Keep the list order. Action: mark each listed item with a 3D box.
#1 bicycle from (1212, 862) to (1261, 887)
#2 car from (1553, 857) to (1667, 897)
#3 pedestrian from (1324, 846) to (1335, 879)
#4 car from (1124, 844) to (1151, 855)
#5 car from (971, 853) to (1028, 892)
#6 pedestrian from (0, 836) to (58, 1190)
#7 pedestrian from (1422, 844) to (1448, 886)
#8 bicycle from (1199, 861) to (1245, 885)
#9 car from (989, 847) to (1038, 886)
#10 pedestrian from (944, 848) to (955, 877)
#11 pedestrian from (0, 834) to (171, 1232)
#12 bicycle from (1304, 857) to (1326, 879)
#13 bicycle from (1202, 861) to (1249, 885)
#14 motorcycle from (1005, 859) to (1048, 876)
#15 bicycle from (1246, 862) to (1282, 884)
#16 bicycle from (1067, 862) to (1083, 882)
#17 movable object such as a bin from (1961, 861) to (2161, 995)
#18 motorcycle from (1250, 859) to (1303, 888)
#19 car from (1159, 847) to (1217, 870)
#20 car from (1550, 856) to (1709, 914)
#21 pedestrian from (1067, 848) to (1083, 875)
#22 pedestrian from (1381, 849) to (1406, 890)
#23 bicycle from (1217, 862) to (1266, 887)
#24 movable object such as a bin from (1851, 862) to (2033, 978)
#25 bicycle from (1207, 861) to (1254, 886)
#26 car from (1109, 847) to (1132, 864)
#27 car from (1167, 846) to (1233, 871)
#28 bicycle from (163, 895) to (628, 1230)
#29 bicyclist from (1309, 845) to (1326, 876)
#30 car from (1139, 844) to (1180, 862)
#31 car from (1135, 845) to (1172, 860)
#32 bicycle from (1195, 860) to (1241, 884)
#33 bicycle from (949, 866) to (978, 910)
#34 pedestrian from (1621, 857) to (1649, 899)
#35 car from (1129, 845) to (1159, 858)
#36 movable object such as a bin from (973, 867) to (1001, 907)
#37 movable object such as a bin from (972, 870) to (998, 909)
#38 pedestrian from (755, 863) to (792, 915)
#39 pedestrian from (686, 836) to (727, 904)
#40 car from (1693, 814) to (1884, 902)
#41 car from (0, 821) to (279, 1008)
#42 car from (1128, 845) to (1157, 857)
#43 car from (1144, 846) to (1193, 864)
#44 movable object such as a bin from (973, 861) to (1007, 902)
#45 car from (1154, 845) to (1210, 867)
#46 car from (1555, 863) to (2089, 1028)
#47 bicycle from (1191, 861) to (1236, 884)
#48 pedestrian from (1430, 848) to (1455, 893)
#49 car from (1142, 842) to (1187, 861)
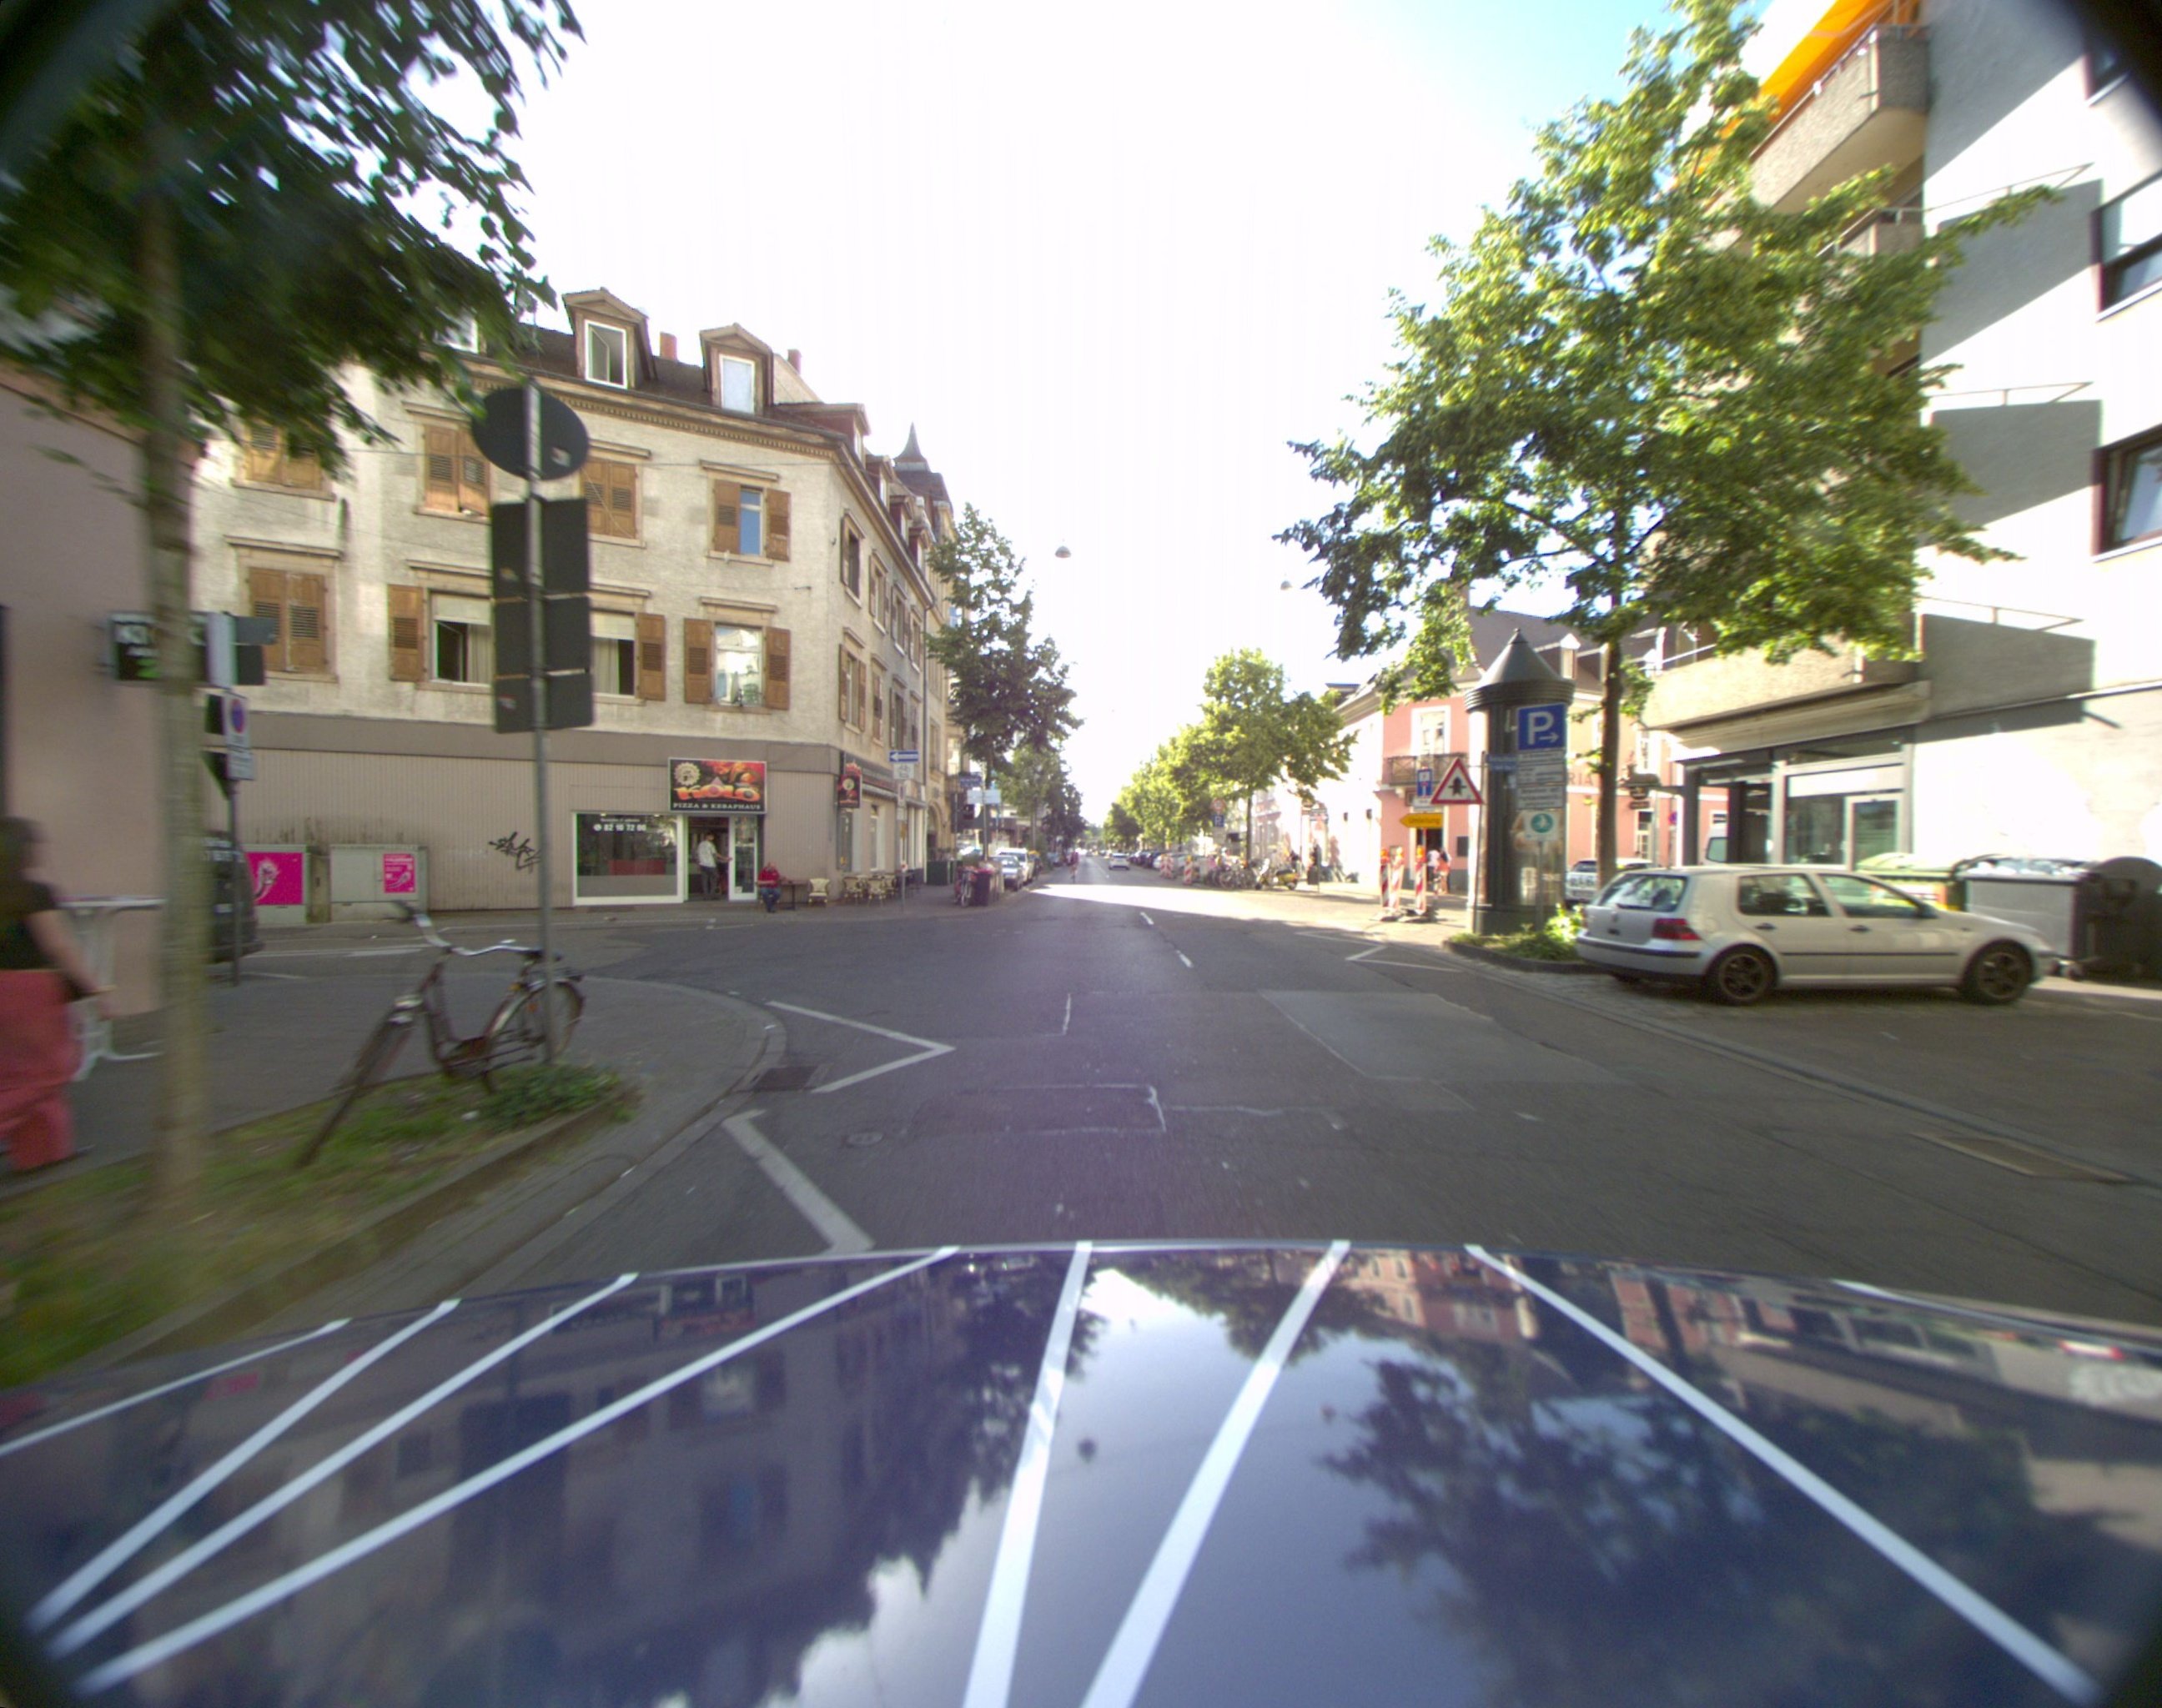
[{"bbox_3d":[6.687,0.855,32.661,2.006,1.023,0.473,-1,1,-12],"label":"bicycle"},{"bbox_3d":[20.468,0.871,29.429,3.607,1.468,1.996,1,0,-23],"label":"car"},{"bbox_3d":[13.148,0.458,40.190,0.517,1.716,0.526,1,1,18],"label":"pedestrian"},{"bbox_3d":[9.137,-0.742,122.411,4.135,1.792,1.911,0,1,-1],"label":"car"},{"bbox_3d":[-3.245,0.692,31.000,1.835,1.410,4.159,2,0,0],"label":"car"},{"bbox_3d":[-5.296,0.728,3.305,0.643,1.635,0.748,3,1,-1],"label":"pedestrian"},{"bbox_3d":[14.333,0.443,30.758,0.581,1.653,0.705,0,1,-37],"label":"pedestrian"},{"bbox_3d":[6.315,0.839,34.051,2.006,1.023,0.473,-1,1,-12],"label":"bicycle"},{"bbox_3d":[-3.140,0.559,36.185,1.835,1.641,4.159,2,0,1],"label":"car"},{"bbox_3d":[-6.434,0.405,37.294,0.460,1.434,0.521,0,1,-1],"label":"pedestrian"},{"bbox_3d":[-4.700,0.739,3.315,0.515,1.635,0.748,3,1,-1],"label":"pedestrian"},{"bbox_3d":[11.759,0.688,38.238,0.570,1.081,1.652,1,0,0],"label":"bicycle"},{"bbox_3d":[6.411,0.847,33.628,2.006,1.023,0.473,-1,1,-12],"label":"bicycle"},{"bbox_3d":[-3.640,0.884,50.690,2.656,1.071,0.962,1,1,-14],"label":"motorcycle"},{"bbox_3d":[8.029,0.826,33.352,1.513,0.945,0.360,0,1,41],"label":"bicycle"},{"bbox_3d":[-0.326,0.924,39.600,0.805,0.958,1.996,0,0,-1],"label":"bicycle"},{"bbox_3d":[11.705,0.824,9.012,1.035,1.451,1.258,1,1,1],"label":"movable object such as a bin"},{"bbox_3d":[8.039,0.790,31.258,2.003,1.178,0.740,0,1,3],"label":"motorcycle"},{"bbox_3d":[8.048,0.298,57.378,4.135,1.670,2.000,0,1,-1],"label":"car"},{"bbox_3d":[15.138,0.813,20.988,3.607,1.468,1.901,1,0,-22],"label":"car"},{"bbox_3d":[-0.316,0.384,39.578,0.804,1.381,0.931,0,0,-1],"label":"pedestrian"},{"bbox_3d":[12.220,0.596,29.742,0.650,1.592,0.863,0,0,1],"label":"pedestrian"},{"bbox_3d":[6.791,0.866,32.134,2.006,1.023,0.473,-1,1,-12],"label":"bicycle"},{"bbox_3d":[11.739,0.858,10.426,1.035,1.451,1.258,1,1,1],"label":"movable object such as a bin"},{"bbox_3d":[6.526,0.844,33.147,2.006,1.023,0.473,-1,1,-12],"label":"bicycle"},{"bbox_3d":[3.502,0.144,67.680,1.835,1.410,3.833,1,0,1],"label":"car"},{"bbox_3d":[8.090,0.268,51.817,4.135,1.670,2.000,0,1,-1],"label":"car"},{"bbox_3d":[-3.280,0.864,3.995,0.508,1.157,2.144,1,0,0],"label":"bicycle"},{"bbox_3d":[11.767,0.338,37.807,0.570,1.495,0.751,1,3,0],"label":"bicyclist"},{"bbox_3d":[8.372,-0.124,81.017,4.135,1.792,1.911,0,1,-1],"label":"car"},{"bbox_3d":[8.615,-0.201,90.642,4.135,1.792,1.911,0,1,-1],"label":"car"},{"bbox_3d":[6.217,0.824,34.533,2.006,1.023,0.473,-1,1,-12],"label":"bicycle"},{"bbox_3d":[-3.401,0.965,21.889,0.379,1.139,1.669,2,1,-24],"label":"bicycle"},{"bbox_3d":[23.467,1.024,32.194,0.635,1.740,0.706,1,1,-22],"label":"pedestrian"},{"bbox_3d":[8.991,-0.350,108.394,4.135,1.792,1.911,0,1,-1],"label":"car"},{"bbox_3d":[-2.792,0.983,22.712,0.721,1.149,0.602,1,1,3],"label":"movable object such as a bin"},{"bbox_3d":[-2.776,1.025,22.029,0.634,1.062,0.602,2,3,2],"label":"movable object such as a bin"},{"bbox_3d":[-7.698,0.864,19.034,0.714,1.252,0.589,0,4,-39],"label":"pedestrian"},{"bbox_3d":[-9.549,0.394,19.378,0.801,1.687,0.705,0,4,-39],"label":"pedestrian"},{"bbox_3d":[22.834,0.149,24.470,6.516,2.566,2.220,1,1,-25],"label":"car"},{"bbox_3d":[-12.278,0.612,8.240,4.501,1.906,1.938,1,-1,-26],"label":"car"},{"bbox_3d":[9.027,-0.479,111.389,4.135,1.792,1.911,0,1,-1],"label":"car"},{"bbox_3d":[7.815,0.053,67.972,4.135,1.585,1.911,0,1,-1],"label":"car"},{"bbox_3d":[-2.857,0.852,23.845,0.944,1.207,0.699,2,2,1],"label":"movable object such as a bin"},{"bbox_3d":[7.897,0.173,59.810,4.135,1.670,2.000,0,1,-1],"label":"car"},{"bbox_3d":[7.670,0.893,8.193,4.008,1.456,1.748,-1,2,0],"label":"car"},{"bbox_3d":[6.094,0.840,35.021,2.006,1.023,0.473,-1,1,-12],"label":"bicycle"},{"bbox_3d":[13.803,0.620,29.052,0.630,1.716,0.580,1,1,-3],"label":"pedestrian"},{"bbox_3d":[8.001,-0.241,73.033,4.135,1.792,1.911,0,1,-1],"label":"car"}]
